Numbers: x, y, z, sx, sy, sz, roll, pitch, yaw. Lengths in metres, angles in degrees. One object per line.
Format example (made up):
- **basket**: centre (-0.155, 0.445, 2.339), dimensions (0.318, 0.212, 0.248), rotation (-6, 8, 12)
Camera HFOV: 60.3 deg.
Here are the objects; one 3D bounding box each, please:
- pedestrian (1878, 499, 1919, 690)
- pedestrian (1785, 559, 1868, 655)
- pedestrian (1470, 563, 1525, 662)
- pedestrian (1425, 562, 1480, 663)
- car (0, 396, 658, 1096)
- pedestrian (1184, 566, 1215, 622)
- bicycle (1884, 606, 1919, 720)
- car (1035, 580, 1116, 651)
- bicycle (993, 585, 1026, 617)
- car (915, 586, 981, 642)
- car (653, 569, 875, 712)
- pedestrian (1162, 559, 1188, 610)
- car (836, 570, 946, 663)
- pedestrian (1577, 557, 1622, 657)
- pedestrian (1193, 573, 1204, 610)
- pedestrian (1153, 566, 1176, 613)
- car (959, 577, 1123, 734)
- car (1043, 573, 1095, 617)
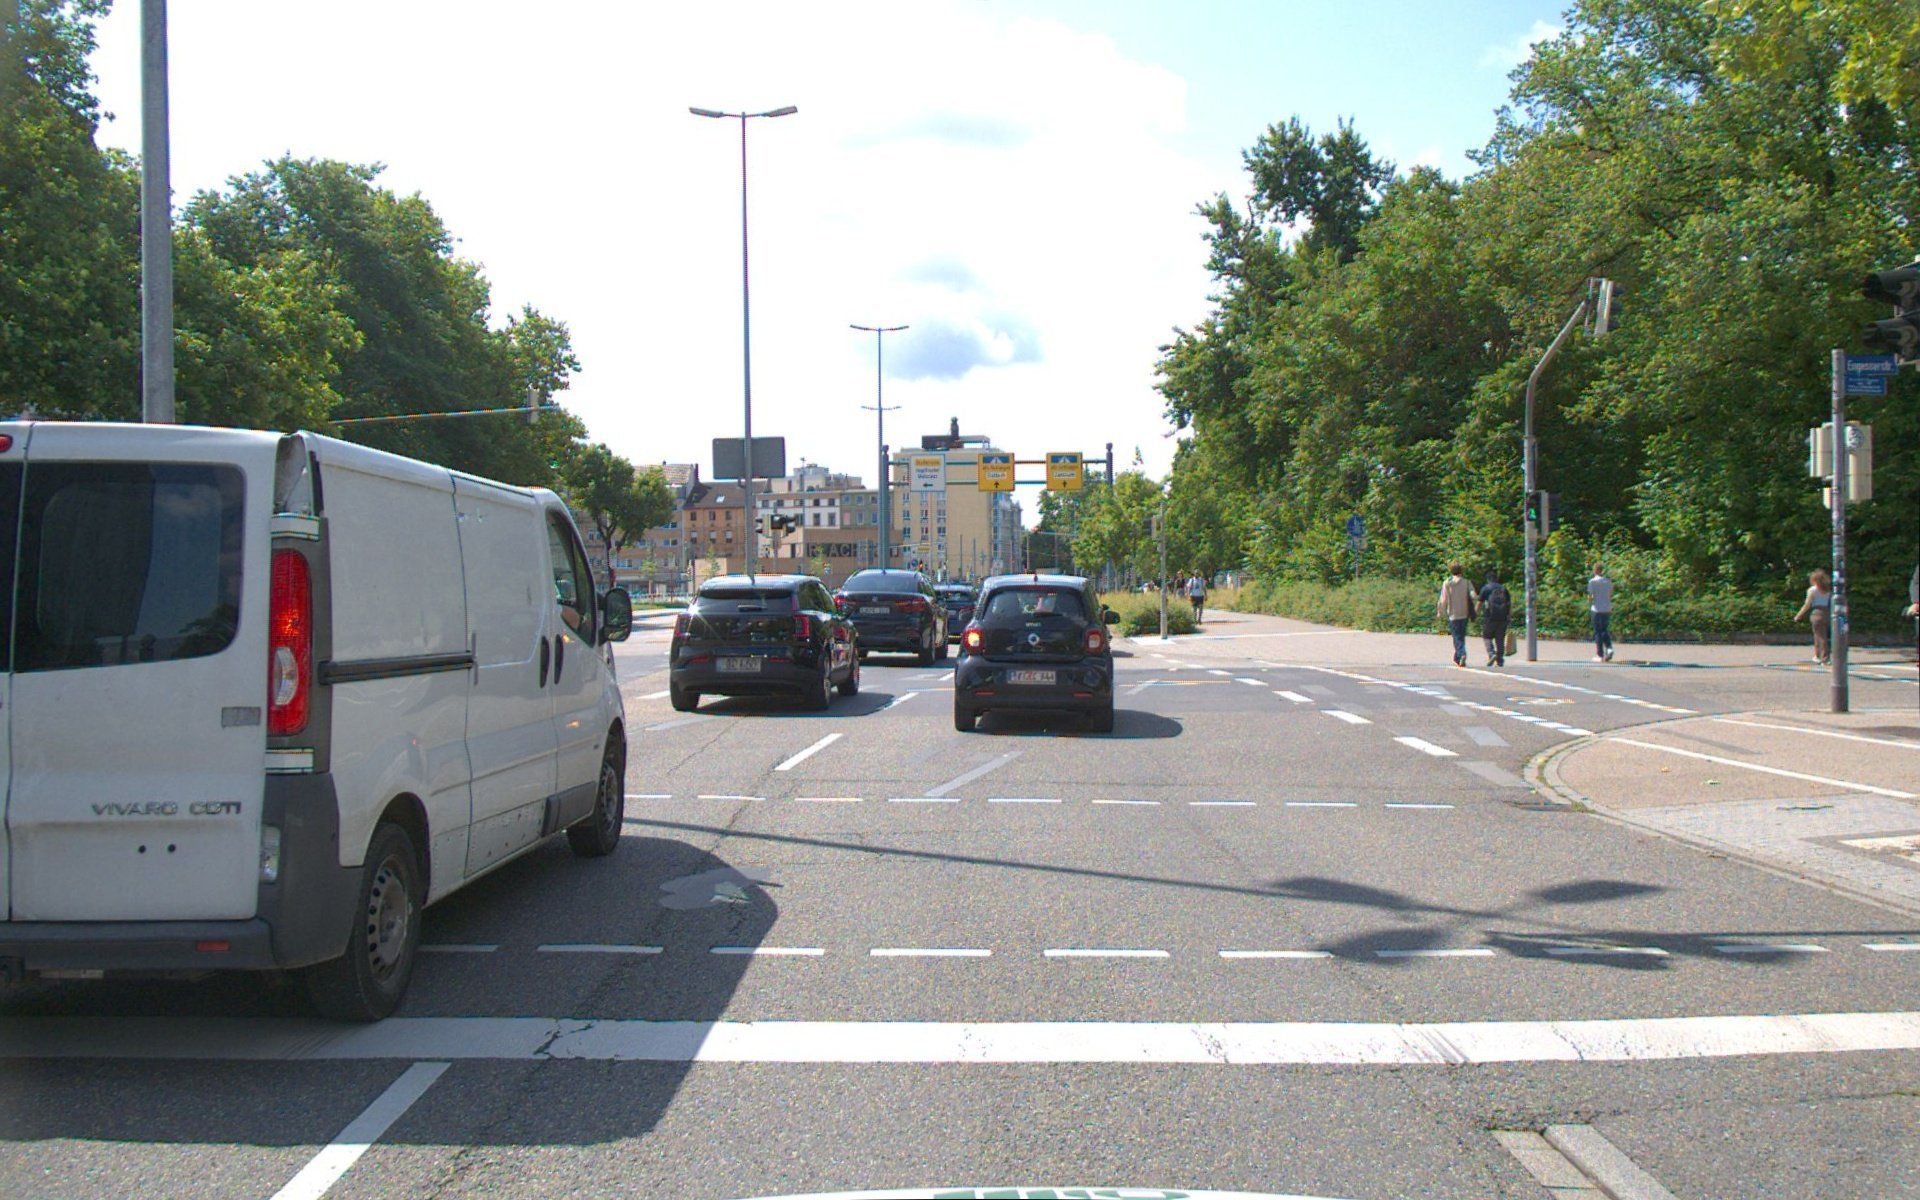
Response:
- **pedestrian**: centre (9.823, -0.075, 16.576), dimensions (0.839, 1.851, 1.171), rotation (-5, -2, 37)
- **pedestrian**: centre (15.564, 0.106, 29.719), dimensions (0.840, 1.654, 1.016), rotation (-2, 2, -15)
- **pedestrian**: centre (9.660, 0.213, 29.750), dimensions (0.778, 1.734, 1.183), rotation (0, 1, 9)
- **pedestrian**: centre (8.597, 0.198, 28.914), dimensions (0.778, 1.734, 1.183), rotation (0, 1, 9)
- **car**: centre (-2.804, 0.386, 7.297), dimensions (1.965, 1.989, 5.194), rotation (0, 1, 0)
- **pedestrian**: centre (7.650, -0.195, 52.847), dimensions (0.833, 1.730, 0.931), rotation (-2, 0, 1)
- **bicycle**: centre (9.843, 0.604, 16.532), dimensions (0.801, 1.091, 1.883), rotation (-3, -2, 36)
- **car**: centre (2.501, 0.299, 36.358), dimensions (1.578, 1.436, 3.518), rotation (1, 1, 1)
- **bicycle**: centre (3.266, 0.044, 109.258), dimensions (1.953, 2.049, 3.999), rotation (1, 0, -1)
- **car**: centre (-0.266, 0.327, 42.529), dimensions (1.578, 1.348, 3.518), rotation (0, 1, 1)
- **car**: centre (-2.290, 0.405, 20.684), dimensions (1.975, 1.556, 4.889), rotation (0, 1, 3)
- **pedestrian**: centre (8.068, -0.582, 62.089), dimensions (0.821, 1.900, 1.019), rotation (-1, 0, -1)
- **car**: centre (-1.230, 0.258, 31.175), dimensions (1.789, 1.629, 4.394), rotation (0, 1, 1)
- **pedestrian**: centre (12.015, 0.119, 31.074), dimensions (0.656, 1.852, 0.704), rotation (0, 1, 9)
- **pedestrian**: centre (12.376, -0.437, 85.877), dimensions (0.491, 1.923, 0.560), rotation (1, 0, -1)
- **pedestrian**: centre (8.807, -0.447, 71.220), dimensions (0.821, 2.003, 0.861), rotation (-1, 0, -1)
- **car**: centre (0.822, 0.511, 17.770), dimensions (1.578, 1.510, 3.518), rotation (0, 1, 1)
- **car**: centre (3.673, -0.189, 56.179), dimensions (1.578, 1.436, 3.518), rotation (1, 1, 1)
